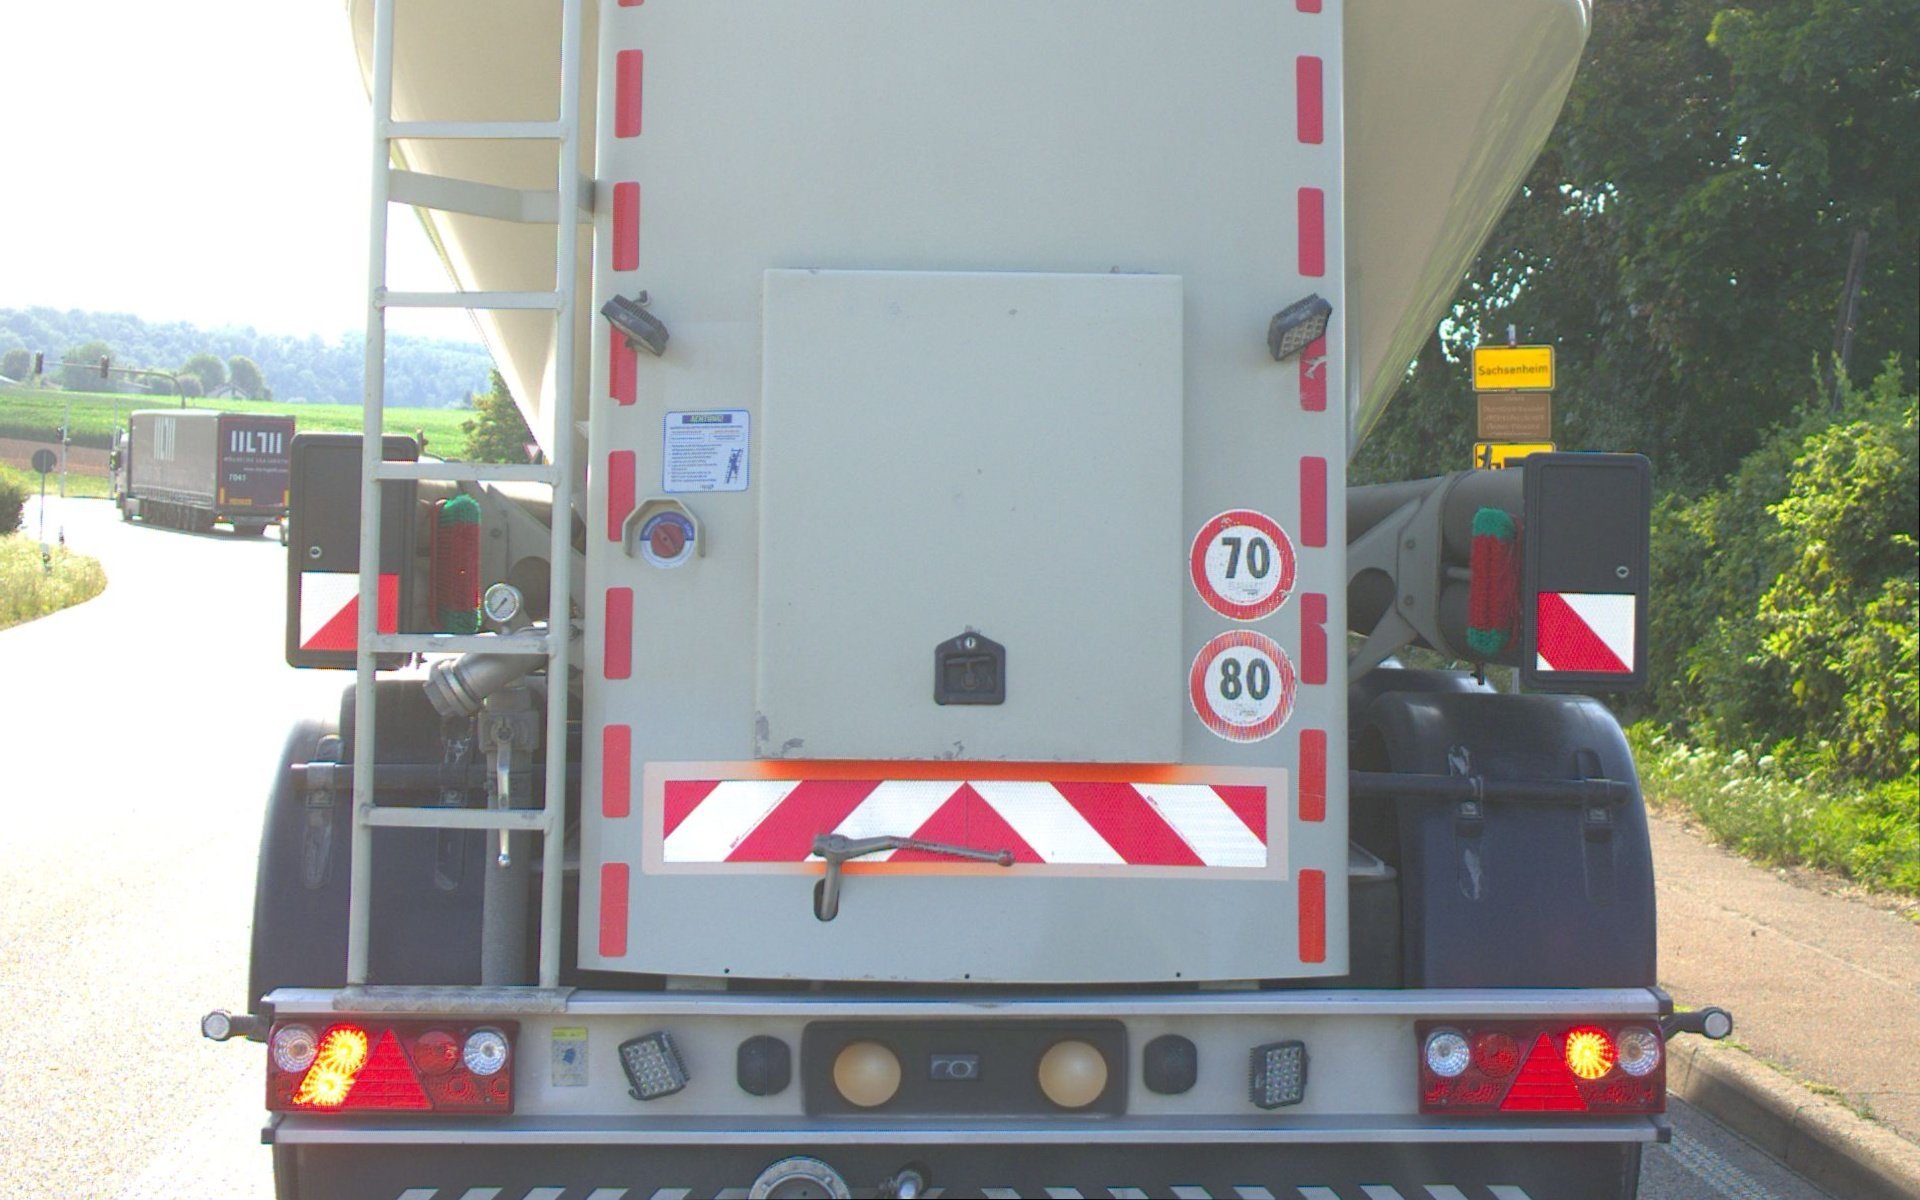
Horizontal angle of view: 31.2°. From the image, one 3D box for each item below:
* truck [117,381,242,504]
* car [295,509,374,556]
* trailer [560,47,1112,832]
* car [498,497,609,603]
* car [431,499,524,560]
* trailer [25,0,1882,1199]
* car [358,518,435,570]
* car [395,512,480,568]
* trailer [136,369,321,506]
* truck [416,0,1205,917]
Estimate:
[{"bbox_3d":[-28.860,-5.779,127.020,3.375,4.335,5.707,2,1,-24],"label":"truck"},{"bbox_3d":[-18.596,-2.024,102.132,1.769,1.201,3.427,-5,3,-18],"label":"car"},{"bbox_3d":[-0.751,-1.041,26.383,2.955,4.300,14.176,2,1,0],"label":"trailer"},{"bbox_3d":[-7.963,-0.992,67.150,1.861,2.007,3.720,1,1,-11],"label":"car"},{"bbox_3d":[-11.450,-1.684,81.497,1.580,1.336,3.427,2,1,-18],"label":"car"},{"bbox_3d":[-0.352,-0.760,10.357,2.909,3.992,9.932,1,1,-4],"label":"trailer"},{"bbox_3d":[-15.716,-1.576,95.802,1.580,1.336,3.427,2,1,-18],"label":"car"},{"bbox_3d":[-13.344,-1.547,87.633,1.580,1.336,3.427,2,1,-18],"label":"car"},{"bbox_3d":[-25.612,-5.562,119.561,3.375,4.335,14.297,2,1,-24],"label":"trailer"},{"bbox_3d":[-0.708,-0.850,14.882,2.909,3.992,4.060,1,1,-5],"label":"truck"}]
